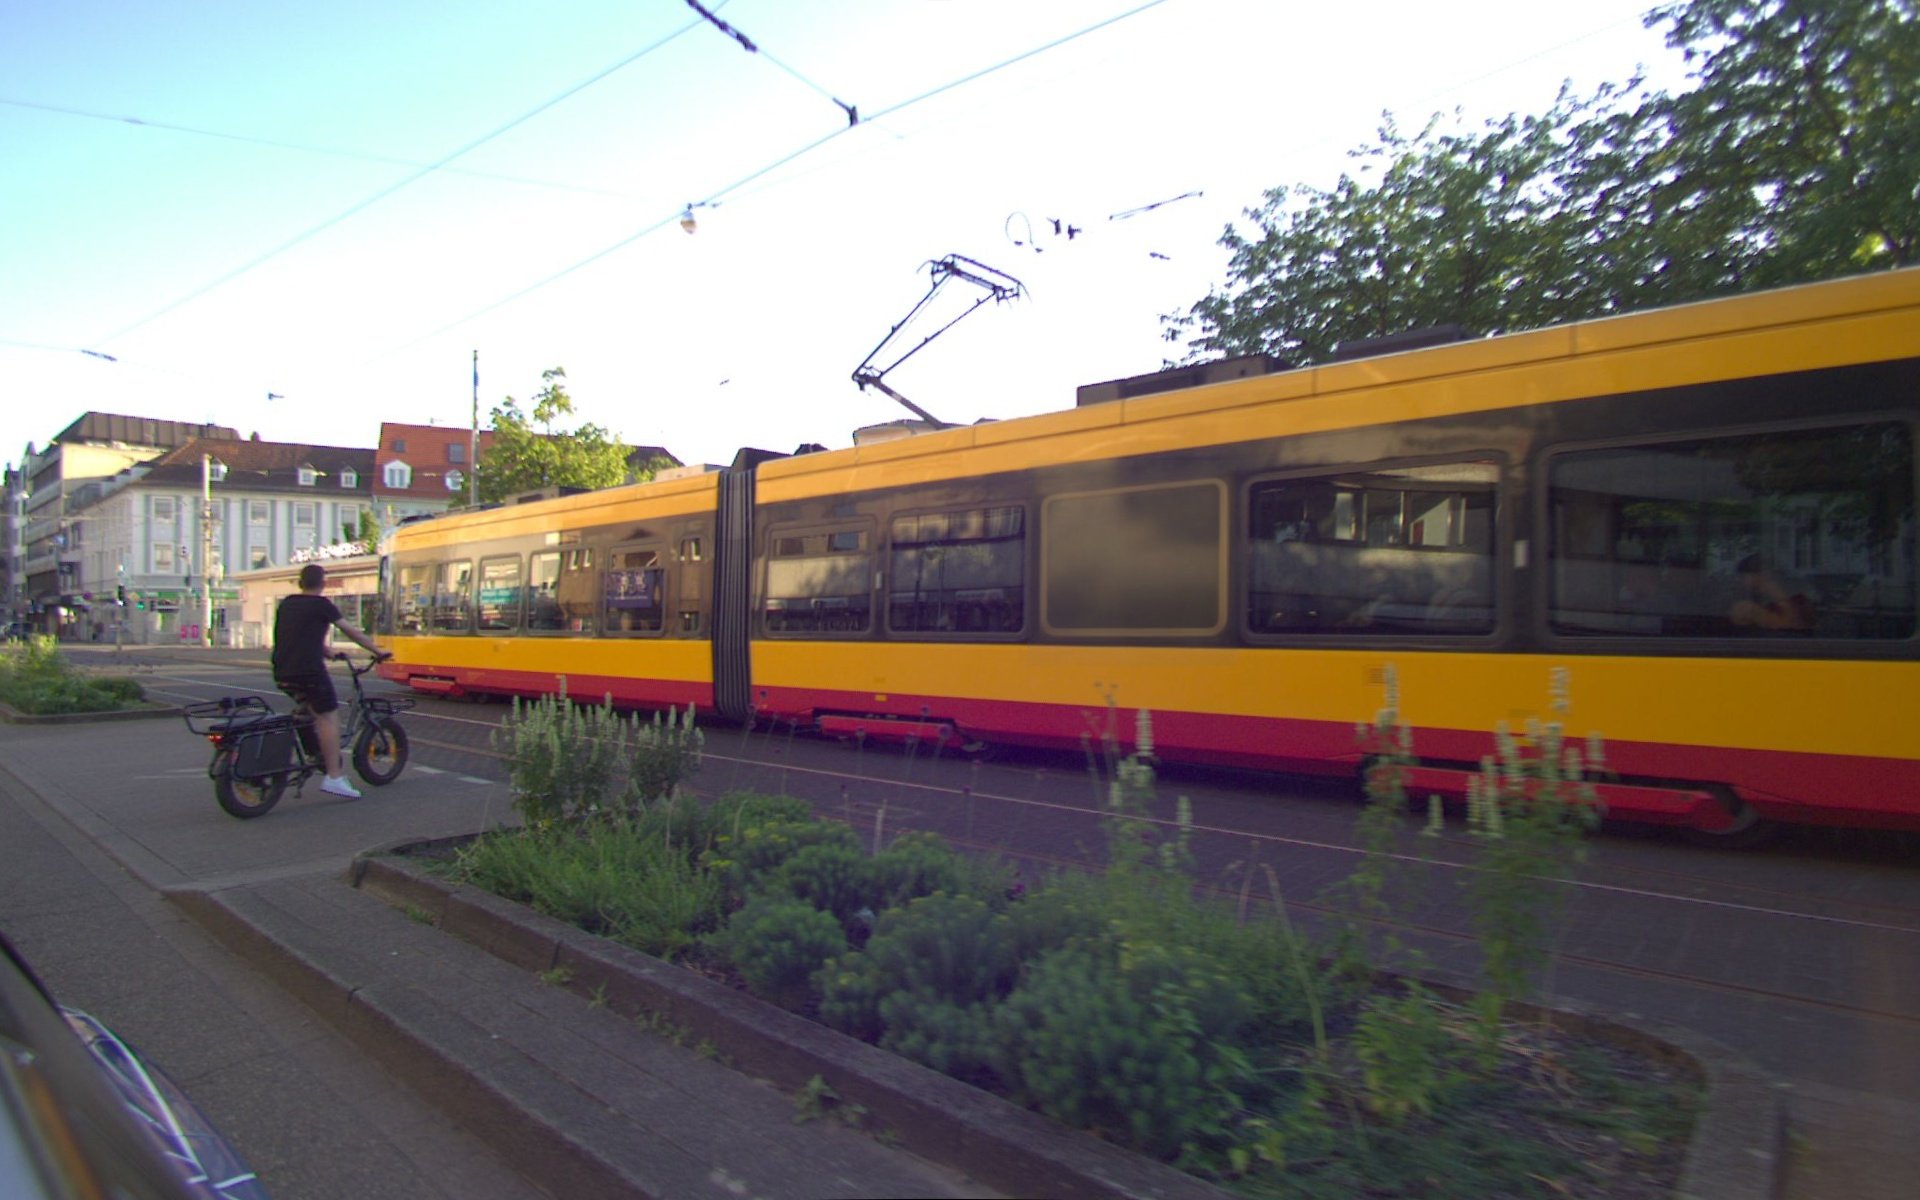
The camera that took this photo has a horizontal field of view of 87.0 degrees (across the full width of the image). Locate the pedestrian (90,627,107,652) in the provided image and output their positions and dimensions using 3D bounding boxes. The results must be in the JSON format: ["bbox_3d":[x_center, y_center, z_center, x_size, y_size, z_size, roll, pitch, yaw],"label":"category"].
[{"bbox_3d":[-62.035,2.815,72.856,0.813,1.741,0.817,-2,-1,41],"label":"pedestrian"}]

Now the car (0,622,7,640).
[{"bbox_3d":[-93.758,2.982,98.031,3.999,1.569,1.796,1,0,42],"label":"car"}]

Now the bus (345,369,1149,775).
[{"bbox_3d":[-5.184,-0.077,15.911,17.066,3.679,2.792,-1,-2,42],"label":"bus"}]

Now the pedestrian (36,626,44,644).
[{"bbox_3d":[-89.133,3.366,98.017,0.600,1.747,0.509,-2,-3,41],"label":"pedestrian"}]

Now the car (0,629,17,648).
[{"bbox_3d":[-87.574,3.508,92.482,3.997,1.636,1.679,-2,-1,41],"label":"car"}]

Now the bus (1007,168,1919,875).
[{"bbox_3d":[4.447,-0.347,7.548,8.286,3.652,2.792,-2,-2,42],"label":"bus"}]

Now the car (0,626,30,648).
[{"bbox_3d":[-82.956,3.216,88.517,4.127,1.809,1.890,-1,0,41],"label":"car"}]

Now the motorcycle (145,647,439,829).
[{"bbox_3d":[-5.041,0.973,7.837,0.563,1.132,2.041,1,0,14],"label":"motorcycle"}]

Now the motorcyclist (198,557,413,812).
[{"bbox_3d":[-5.050,0.604,7.869,0.950,1.827,1.000,1,0,15],"label":"motorcyclist"}]

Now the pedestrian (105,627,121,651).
[{"bbox_3d":[-60.836,2.789,72.692,0.814,1.653,0.816,-1,-1,-33],"label":"pedestrian"}]

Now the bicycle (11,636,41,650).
[{"bbox_3d":[-73.711,3.403,79.885,1.715,1.067,0.499,1,-3,-41],"label":"bicycle"}]
